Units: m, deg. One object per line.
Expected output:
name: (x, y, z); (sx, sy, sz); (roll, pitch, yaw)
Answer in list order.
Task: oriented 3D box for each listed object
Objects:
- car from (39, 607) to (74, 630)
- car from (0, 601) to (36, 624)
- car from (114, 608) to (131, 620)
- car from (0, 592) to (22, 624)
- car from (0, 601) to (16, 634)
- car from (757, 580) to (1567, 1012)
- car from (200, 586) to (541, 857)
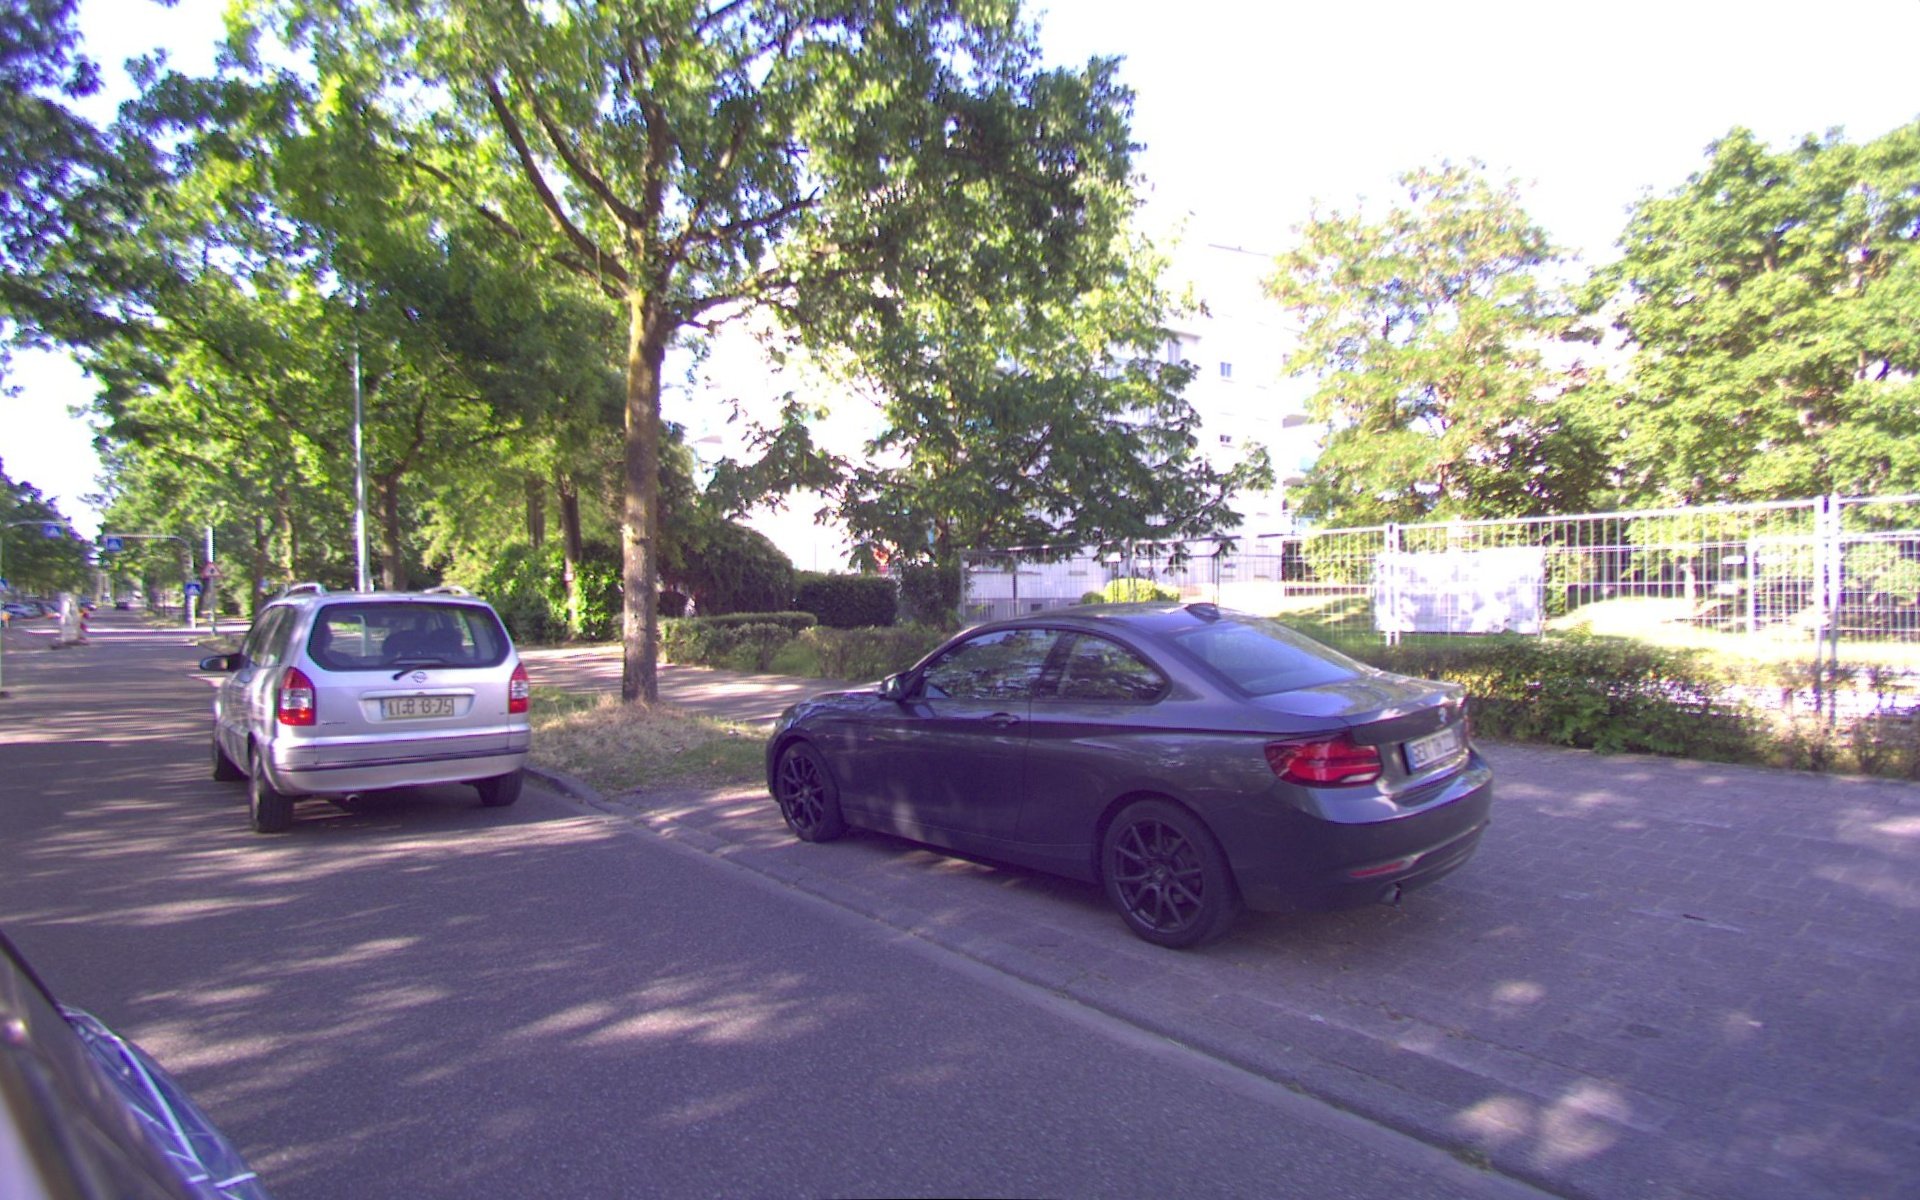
car: (-77.541, 1.569, 86.865); (1.968, 1.896, 4.008); (2, -1, -39)
car: (-82.808, 1.070, 87.505); (4.183, 2.020, 1.567); (1, -1, -44)
car: (-139.878, 2.316, 169.112); (1.968, 1.829, 4.008); (-1, 0, -37)
car: (-79.959, 0.652, 83.020); (4.348, 2.565, 1.890); (1, -1, -44)
car: (-61.803, 1.065, 62.382); (5.191, 2.020, 2.003); (1, -1, -42)
car: (0.743, 0.690, 5.576); (1.696, 1.443, 4.141); (-3, 1, -43)
car: (-4.870, 0.752, 8.075); (1.639, 1.608, 4.014); (2, -2, -40)
